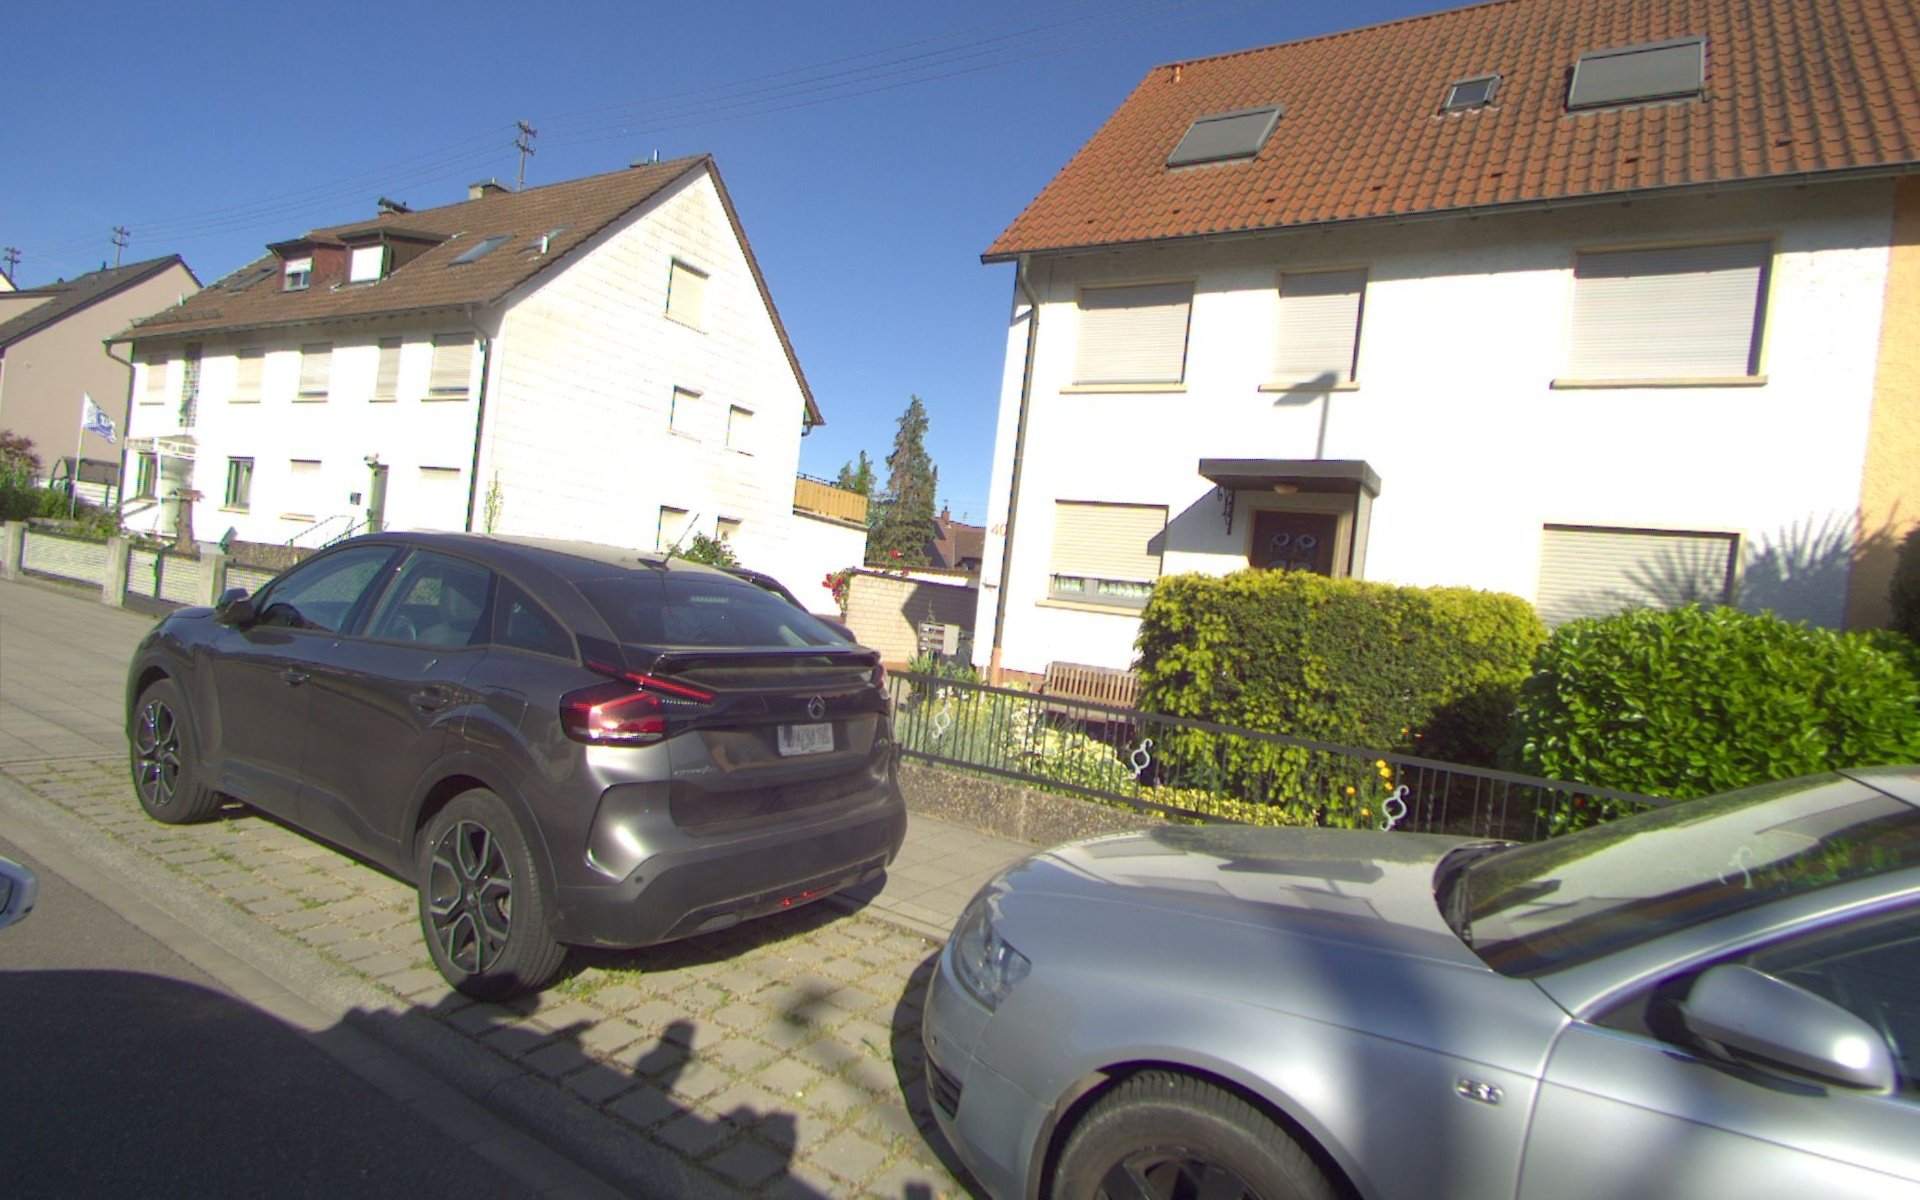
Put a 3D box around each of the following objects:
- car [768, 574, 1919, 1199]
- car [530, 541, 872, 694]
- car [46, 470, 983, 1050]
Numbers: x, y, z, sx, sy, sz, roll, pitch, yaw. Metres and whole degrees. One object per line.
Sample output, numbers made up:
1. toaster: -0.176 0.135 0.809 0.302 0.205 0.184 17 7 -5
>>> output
1. car: 2.033 0.983 1.902 4.620 1.465 1.750 8 1 31
2. car: -3.454 0.353 14.345 2.159 1.674 4.424 6 -1 29
3. car: -2.391 0.355 4.848 4.651 1.517 1.779 7 0 33
